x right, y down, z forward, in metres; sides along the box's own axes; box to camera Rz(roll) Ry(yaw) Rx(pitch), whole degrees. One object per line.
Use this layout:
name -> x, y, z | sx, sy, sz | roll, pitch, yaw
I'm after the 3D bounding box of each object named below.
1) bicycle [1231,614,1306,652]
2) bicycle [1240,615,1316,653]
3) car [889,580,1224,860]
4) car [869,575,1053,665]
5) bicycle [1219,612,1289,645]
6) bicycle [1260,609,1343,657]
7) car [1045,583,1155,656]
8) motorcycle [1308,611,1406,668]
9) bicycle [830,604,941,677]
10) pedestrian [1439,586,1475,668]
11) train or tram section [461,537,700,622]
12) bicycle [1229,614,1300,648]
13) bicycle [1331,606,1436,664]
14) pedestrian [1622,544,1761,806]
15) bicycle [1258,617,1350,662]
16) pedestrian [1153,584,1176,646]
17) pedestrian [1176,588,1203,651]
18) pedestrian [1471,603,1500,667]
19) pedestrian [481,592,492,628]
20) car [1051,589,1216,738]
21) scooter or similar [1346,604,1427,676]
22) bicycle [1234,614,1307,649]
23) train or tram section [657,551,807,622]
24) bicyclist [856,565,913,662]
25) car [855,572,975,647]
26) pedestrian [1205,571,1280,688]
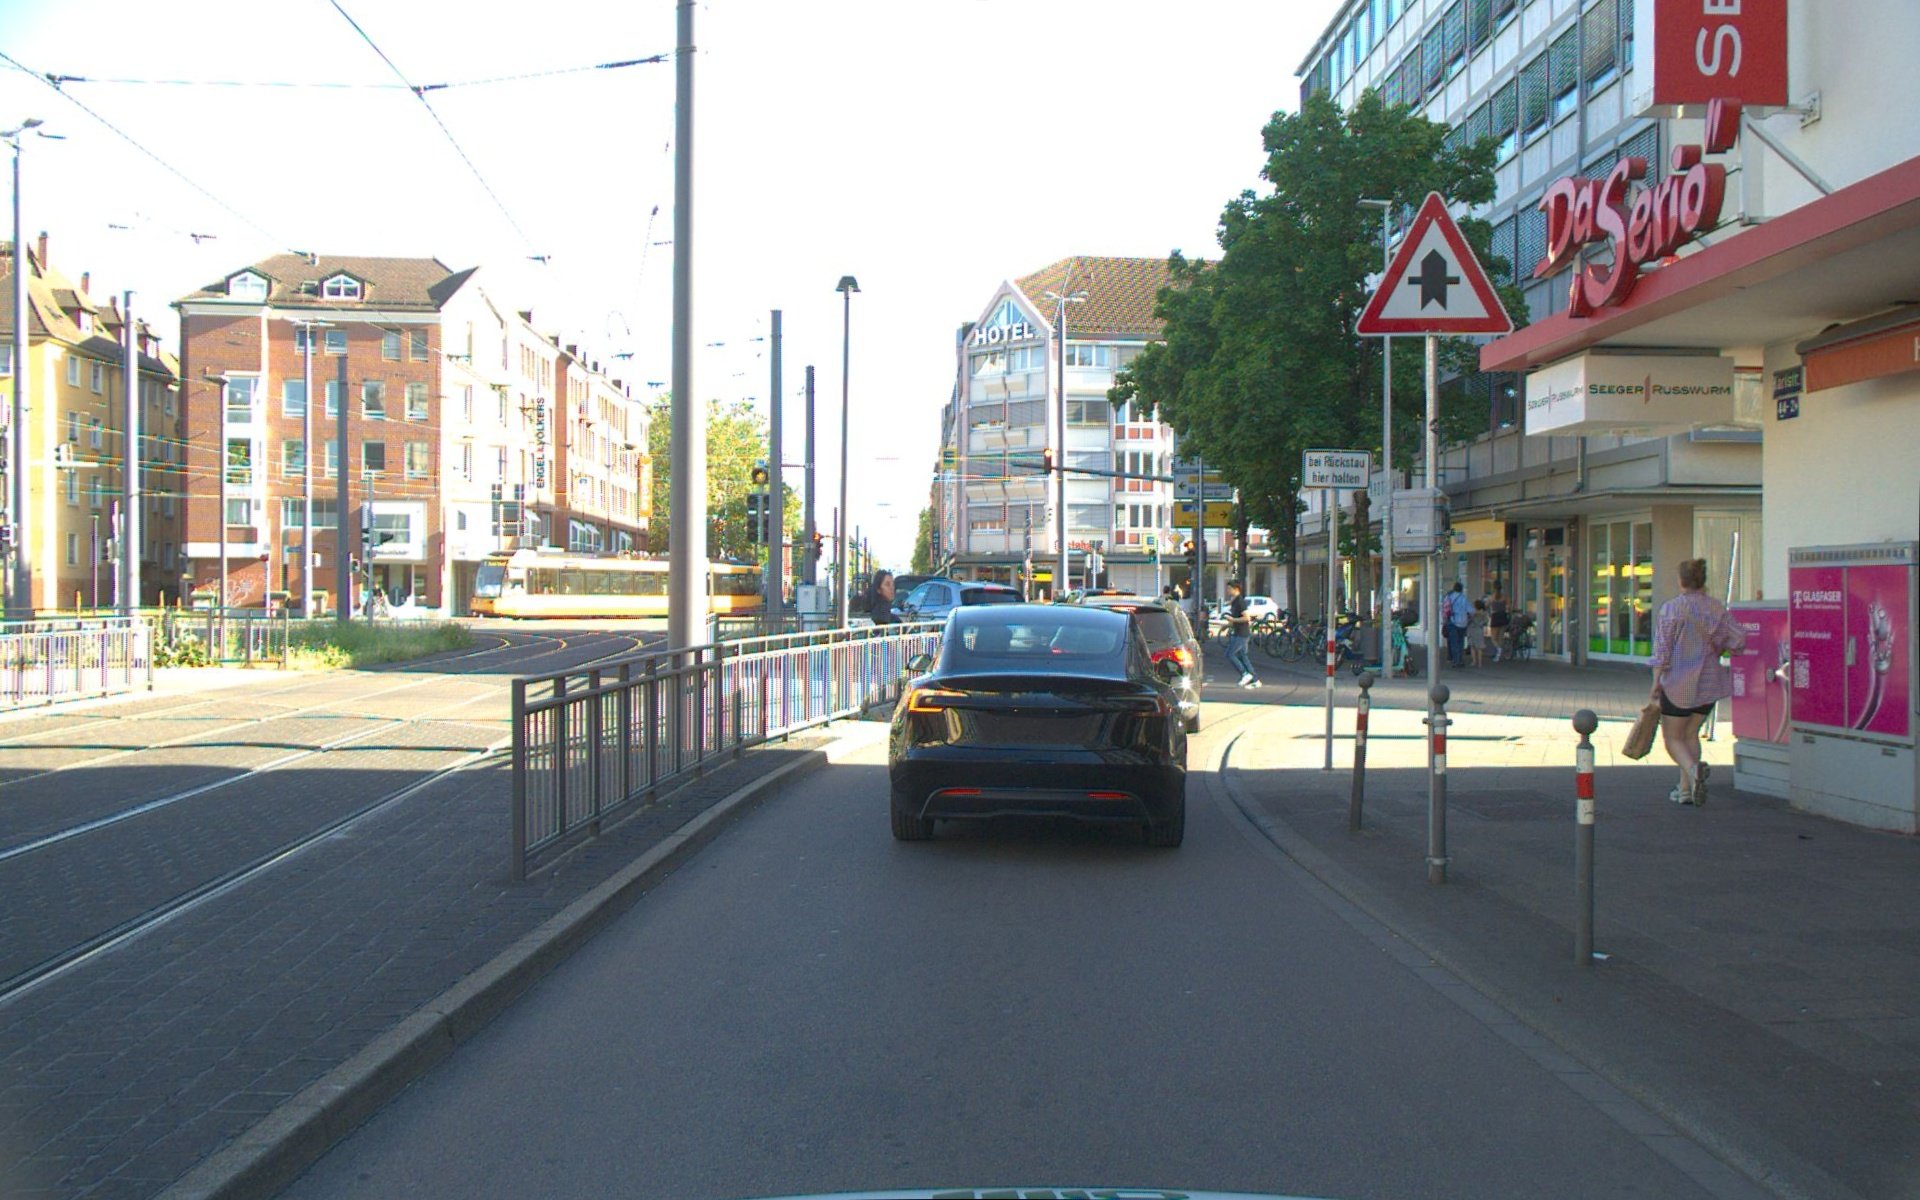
bicycle -> 8.179, 0.878, 43.890 | 1.885, 0.967, 0.526 | 1, 0, -1
bicycle -> 8.237, 0.876, 42.875 | 1.885, 0.967, 0.526 | 1, 0, -1
car -> 0.460, 0.676, 11.074 | 1.812, 1.510, 3.785 | 2, 0, -3
car -> -0.058, 0.338, 31.096 | 1.762, 1.545, 4.182 | 2, 0, -26
bicycle -> 8.361, 0.820, 47.011 | 1.885, 0.906, 0.526 | 1, 0, -1
bicycle -> 8.240, 0.798, 39.930 | 1.885, 1.116, 0.554 | 1, 0, -1
car -> 3.161, 0.428, 38.065 | 1.789, 1.545, 3.644 | 2, 0, -7
motorcycle -> 8.565, 0.845, 35.736 | 1.951, 1.147, 0.596 | 2, 0, -2
bicycle -> -1.212, 0.648, 26.859 | 1.696, 1.107, 0.676 | 2, 0, -10
pedestrian -> 10.226, 0.552, 34.019 | 0.583, 1.670, 0.466 | -1, -1, 0
train or tram section -> -18.882, -0.896, 83.895 | 2.626, 3.780, 14.158 | 2, 0, 31
bicycle -> 8.483, 0.865, 46.144 | 1.885, 0.906, 0.526 | 1, 0, -1
bicycle -> 8.637, 0.717, 33.768 | 2.009, 1.141, 0.483 | 1, 0, -1
pedestrian -> 5.034, 0.499, 11.427 | 0.800, 1.712, 0.714 | 2, -1, 21
bicycle -> 7.888, 0.912, 37.974 | 2.009, 0.999, 0.483 | 1, 0, -1
pedestrian -> 5.690, 0.409, 45.942 | 0.550, 1.712, 0.750 | 1, 0, 3
pedestrian -> 6.054, 0.510, 43.672 | 0.616, 1.642, 0.643 | 1, 0, 2
pedestrian -> 10.800, 0.712, 33.999 | 0.411, 1.303, 0.531 | 0, 0, 0
pedestrian -> -27.449, 0.559, 95.888 | 0.555, 2.049, 0.349 | 2, -1, -17
car -> 2.000, 0.628, 18.729 | 1.618, 1.443, 4.003 | 2, 1, 7
scooter or similar -> 8.092, 0.754, 31.375 | 1.392, 1.340, 0.690 | 1, -2, -27
bicycle -> 8.439, 0.851, 44.999 | 1.885, 0.903, 0.526 | 1, 0, -1
train or tram section -> -13.086, -0.622, 97.287 | 2.581, 3.783, 15.395 | 2, 0, 16
bicyclist -> -1.226, 0.219, 26.864 | 0.821, 1.526, 0.559 | 2, -1, -10
car -> -1.074, 0.192, 37.314 | 1.794, 1.545, 4.202 | 2, 0, -14
pedestrian -> 4.389, 0.463, 25.706 | 0.992, 1.772, 0.524 | 2, -1, -27
